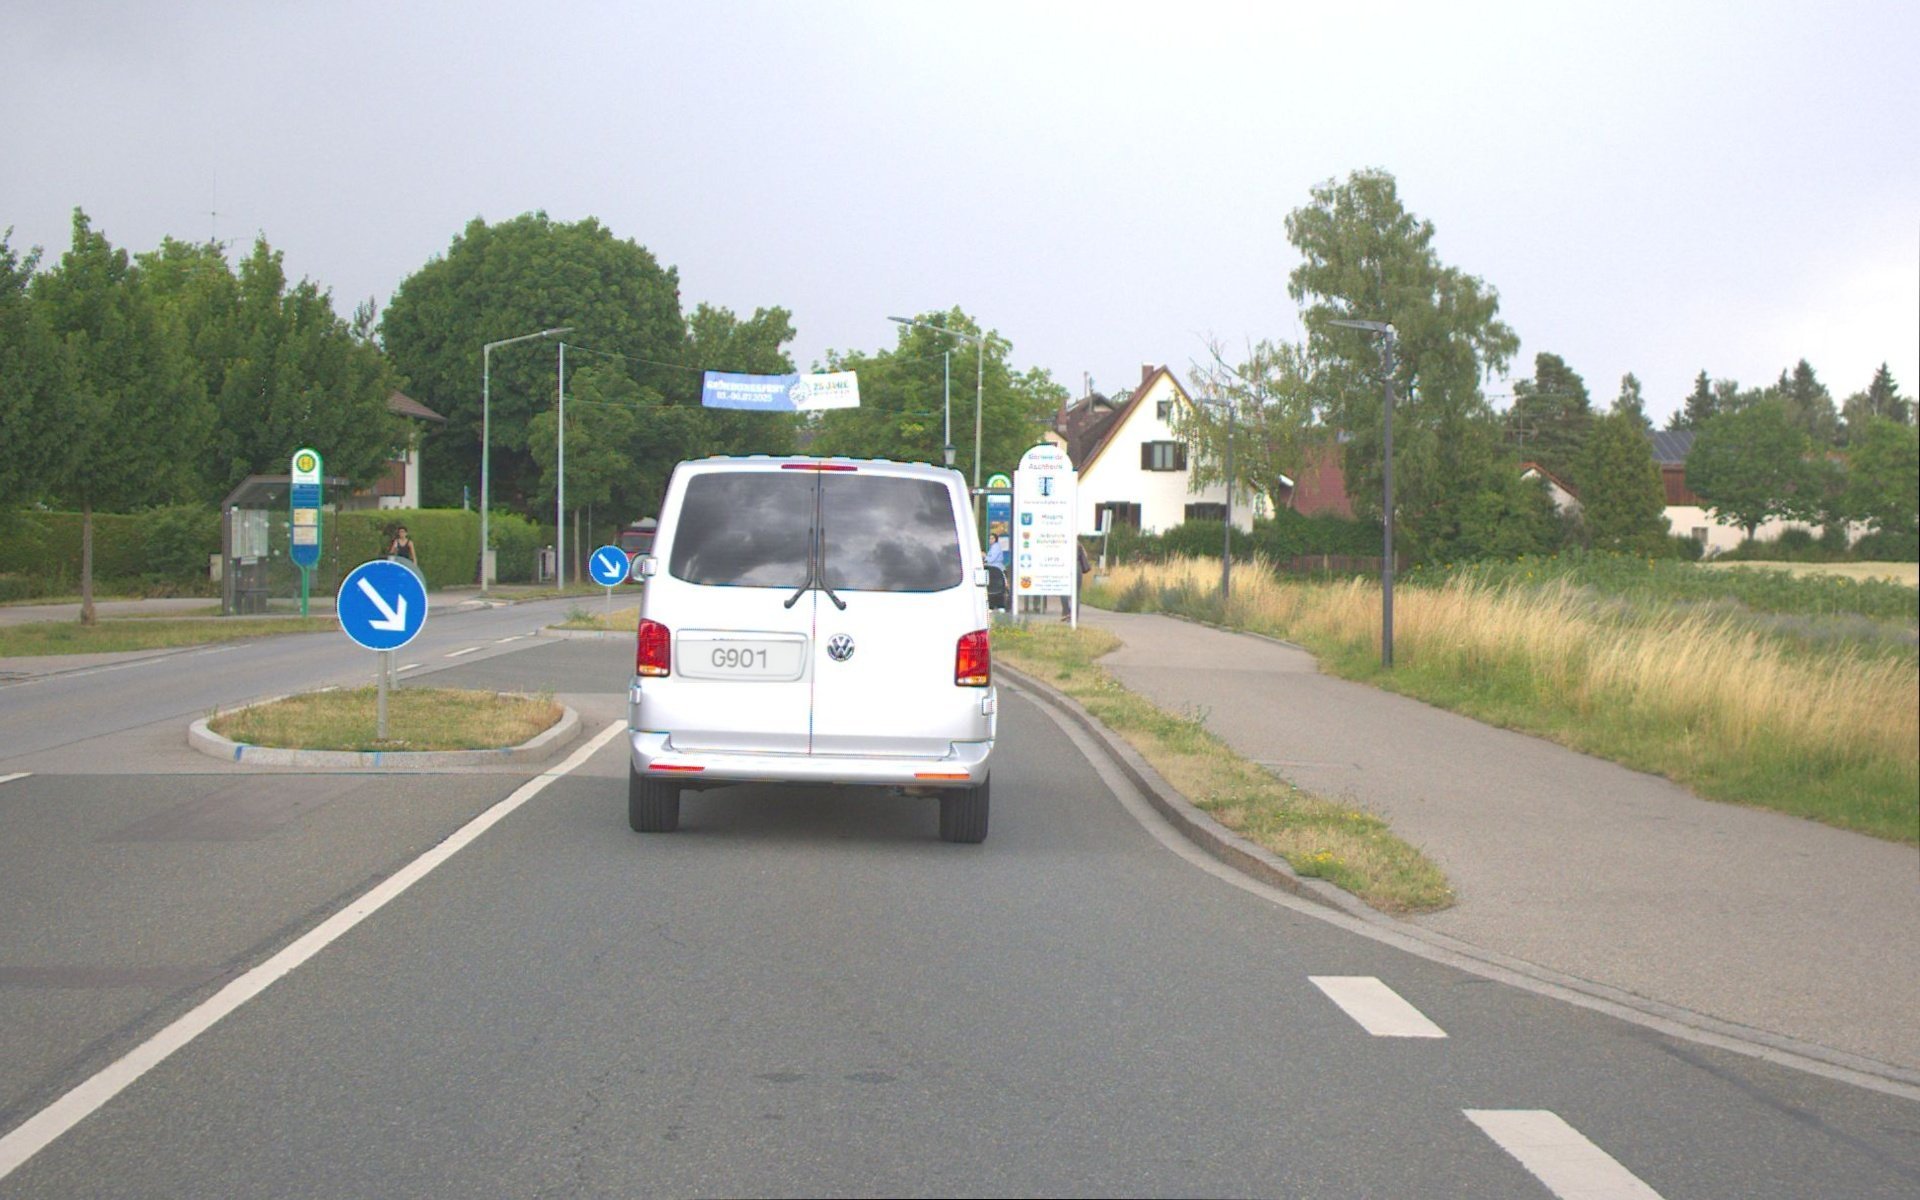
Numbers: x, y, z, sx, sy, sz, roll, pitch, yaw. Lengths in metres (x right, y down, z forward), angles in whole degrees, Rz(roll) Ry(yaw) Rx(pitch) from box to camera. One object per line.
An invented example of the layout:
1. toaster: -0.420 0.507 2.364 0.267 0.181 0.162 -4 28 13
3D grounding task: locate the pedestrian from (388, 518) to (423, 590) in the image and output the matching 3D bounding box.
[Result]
1. pedestrian: -11.713 -0.974 72.654 0.623 1.519 0.680 -1 1 -2

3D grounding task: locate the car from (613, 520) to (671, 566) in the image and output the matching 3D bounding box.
1. car: -10.400 -1.875 112.558 1.653 1.424 3.603 -1 1 -2

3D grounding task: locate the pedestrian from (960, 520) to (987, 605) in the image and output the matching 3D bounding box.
1. pedestrian: 0.275 -0.768 70.181 0.485 1.726 0.642 -1 1 -2

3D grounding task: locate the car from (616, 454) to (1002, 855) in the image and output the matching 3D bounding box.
1. car: -0.843 0.217 18.724 1.825 1.907 4.001 1 1 -3
